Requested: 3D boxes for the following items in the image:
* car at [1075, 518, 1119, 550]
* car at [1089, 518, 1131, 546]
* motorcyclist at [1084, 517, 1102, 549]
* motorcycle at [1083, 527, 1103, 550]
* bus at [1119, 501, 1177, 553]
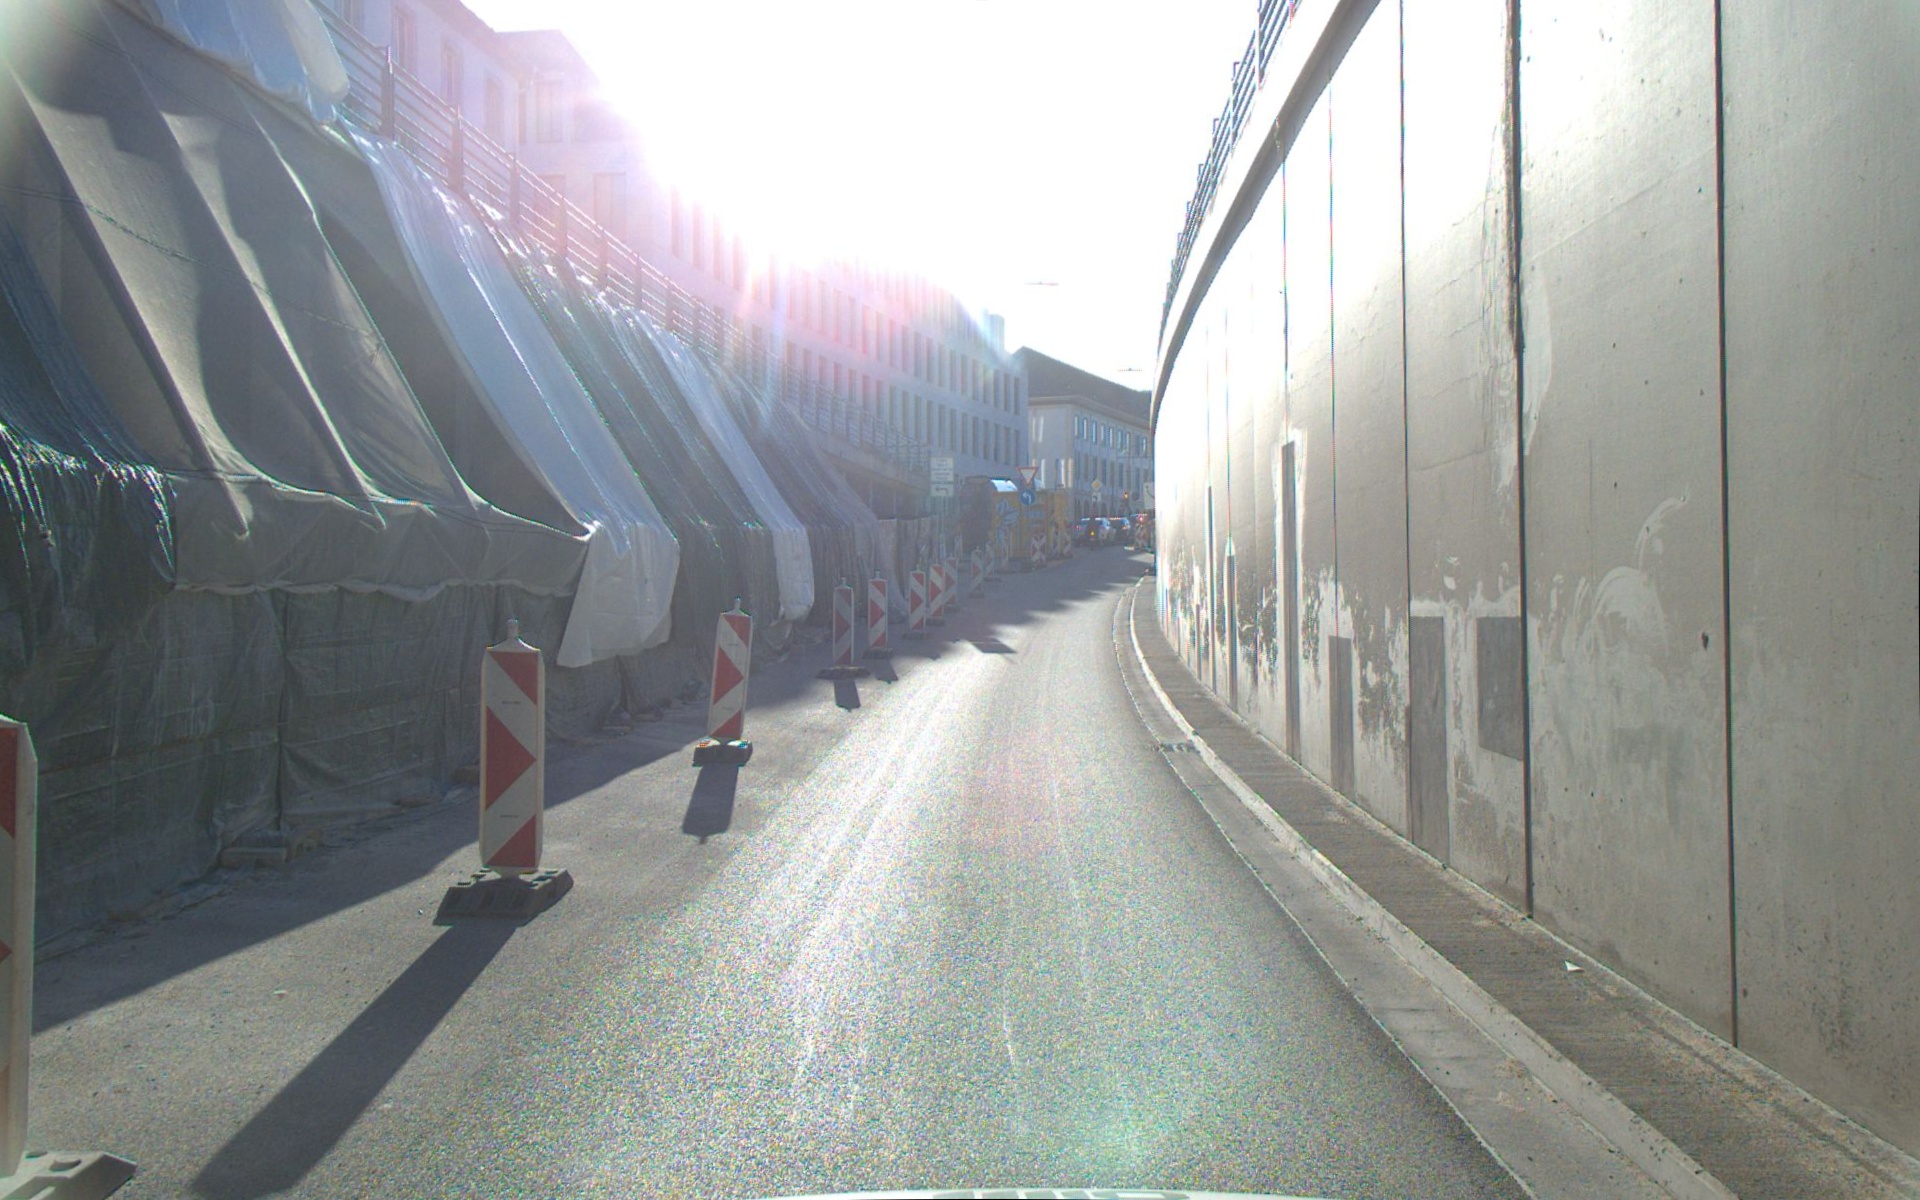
[{"bbox_3d":[7.290,-3.503,87.757,1.738,1.632,4.004,1,2,13],"label":"car"},{"bbox_3d":[8.548,-3.866,94.003,1.782,1.560,4.004,1,2,15],"label":"car"},{"bbox_3d":[6.510,-3.268,81.018,0.787,1.530,0.777,0,-1,12],"label":"motorcyclist"},{"bbox_3d":[6.529,-3.008,81.104,0.755,1.010,2.185,0,-1,12],"label":"motorcycle"},{"bbox_3d":[9.633,-3.749,84.498,2.178,2.601,4.431,1,3,17],"label":"bus"}]
